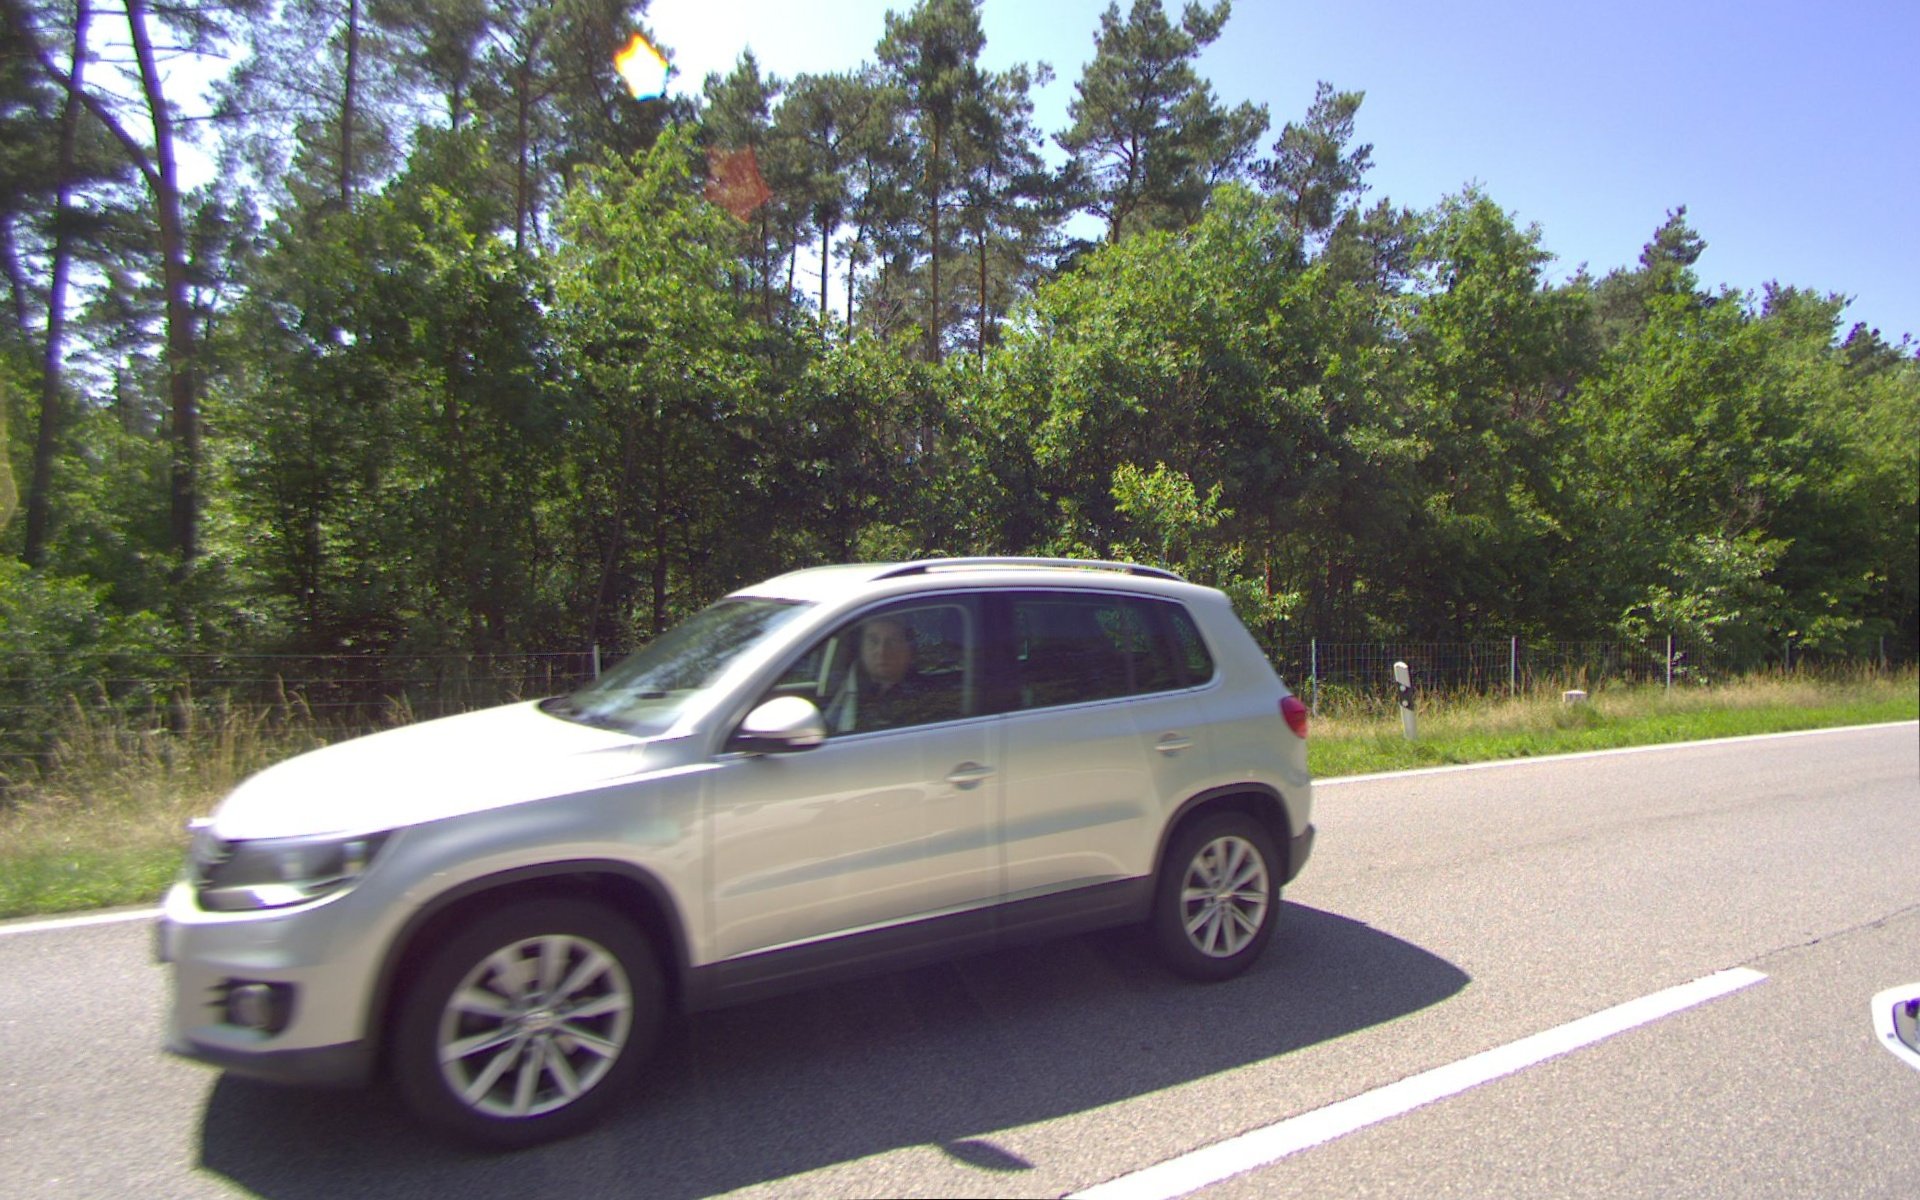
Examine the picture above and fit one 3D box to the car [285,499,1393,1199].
[{"bbox_3d":[-0.293,0.621,4.196,4.045,1.650,1.854,1,-1,-31],"label":"car"}]
